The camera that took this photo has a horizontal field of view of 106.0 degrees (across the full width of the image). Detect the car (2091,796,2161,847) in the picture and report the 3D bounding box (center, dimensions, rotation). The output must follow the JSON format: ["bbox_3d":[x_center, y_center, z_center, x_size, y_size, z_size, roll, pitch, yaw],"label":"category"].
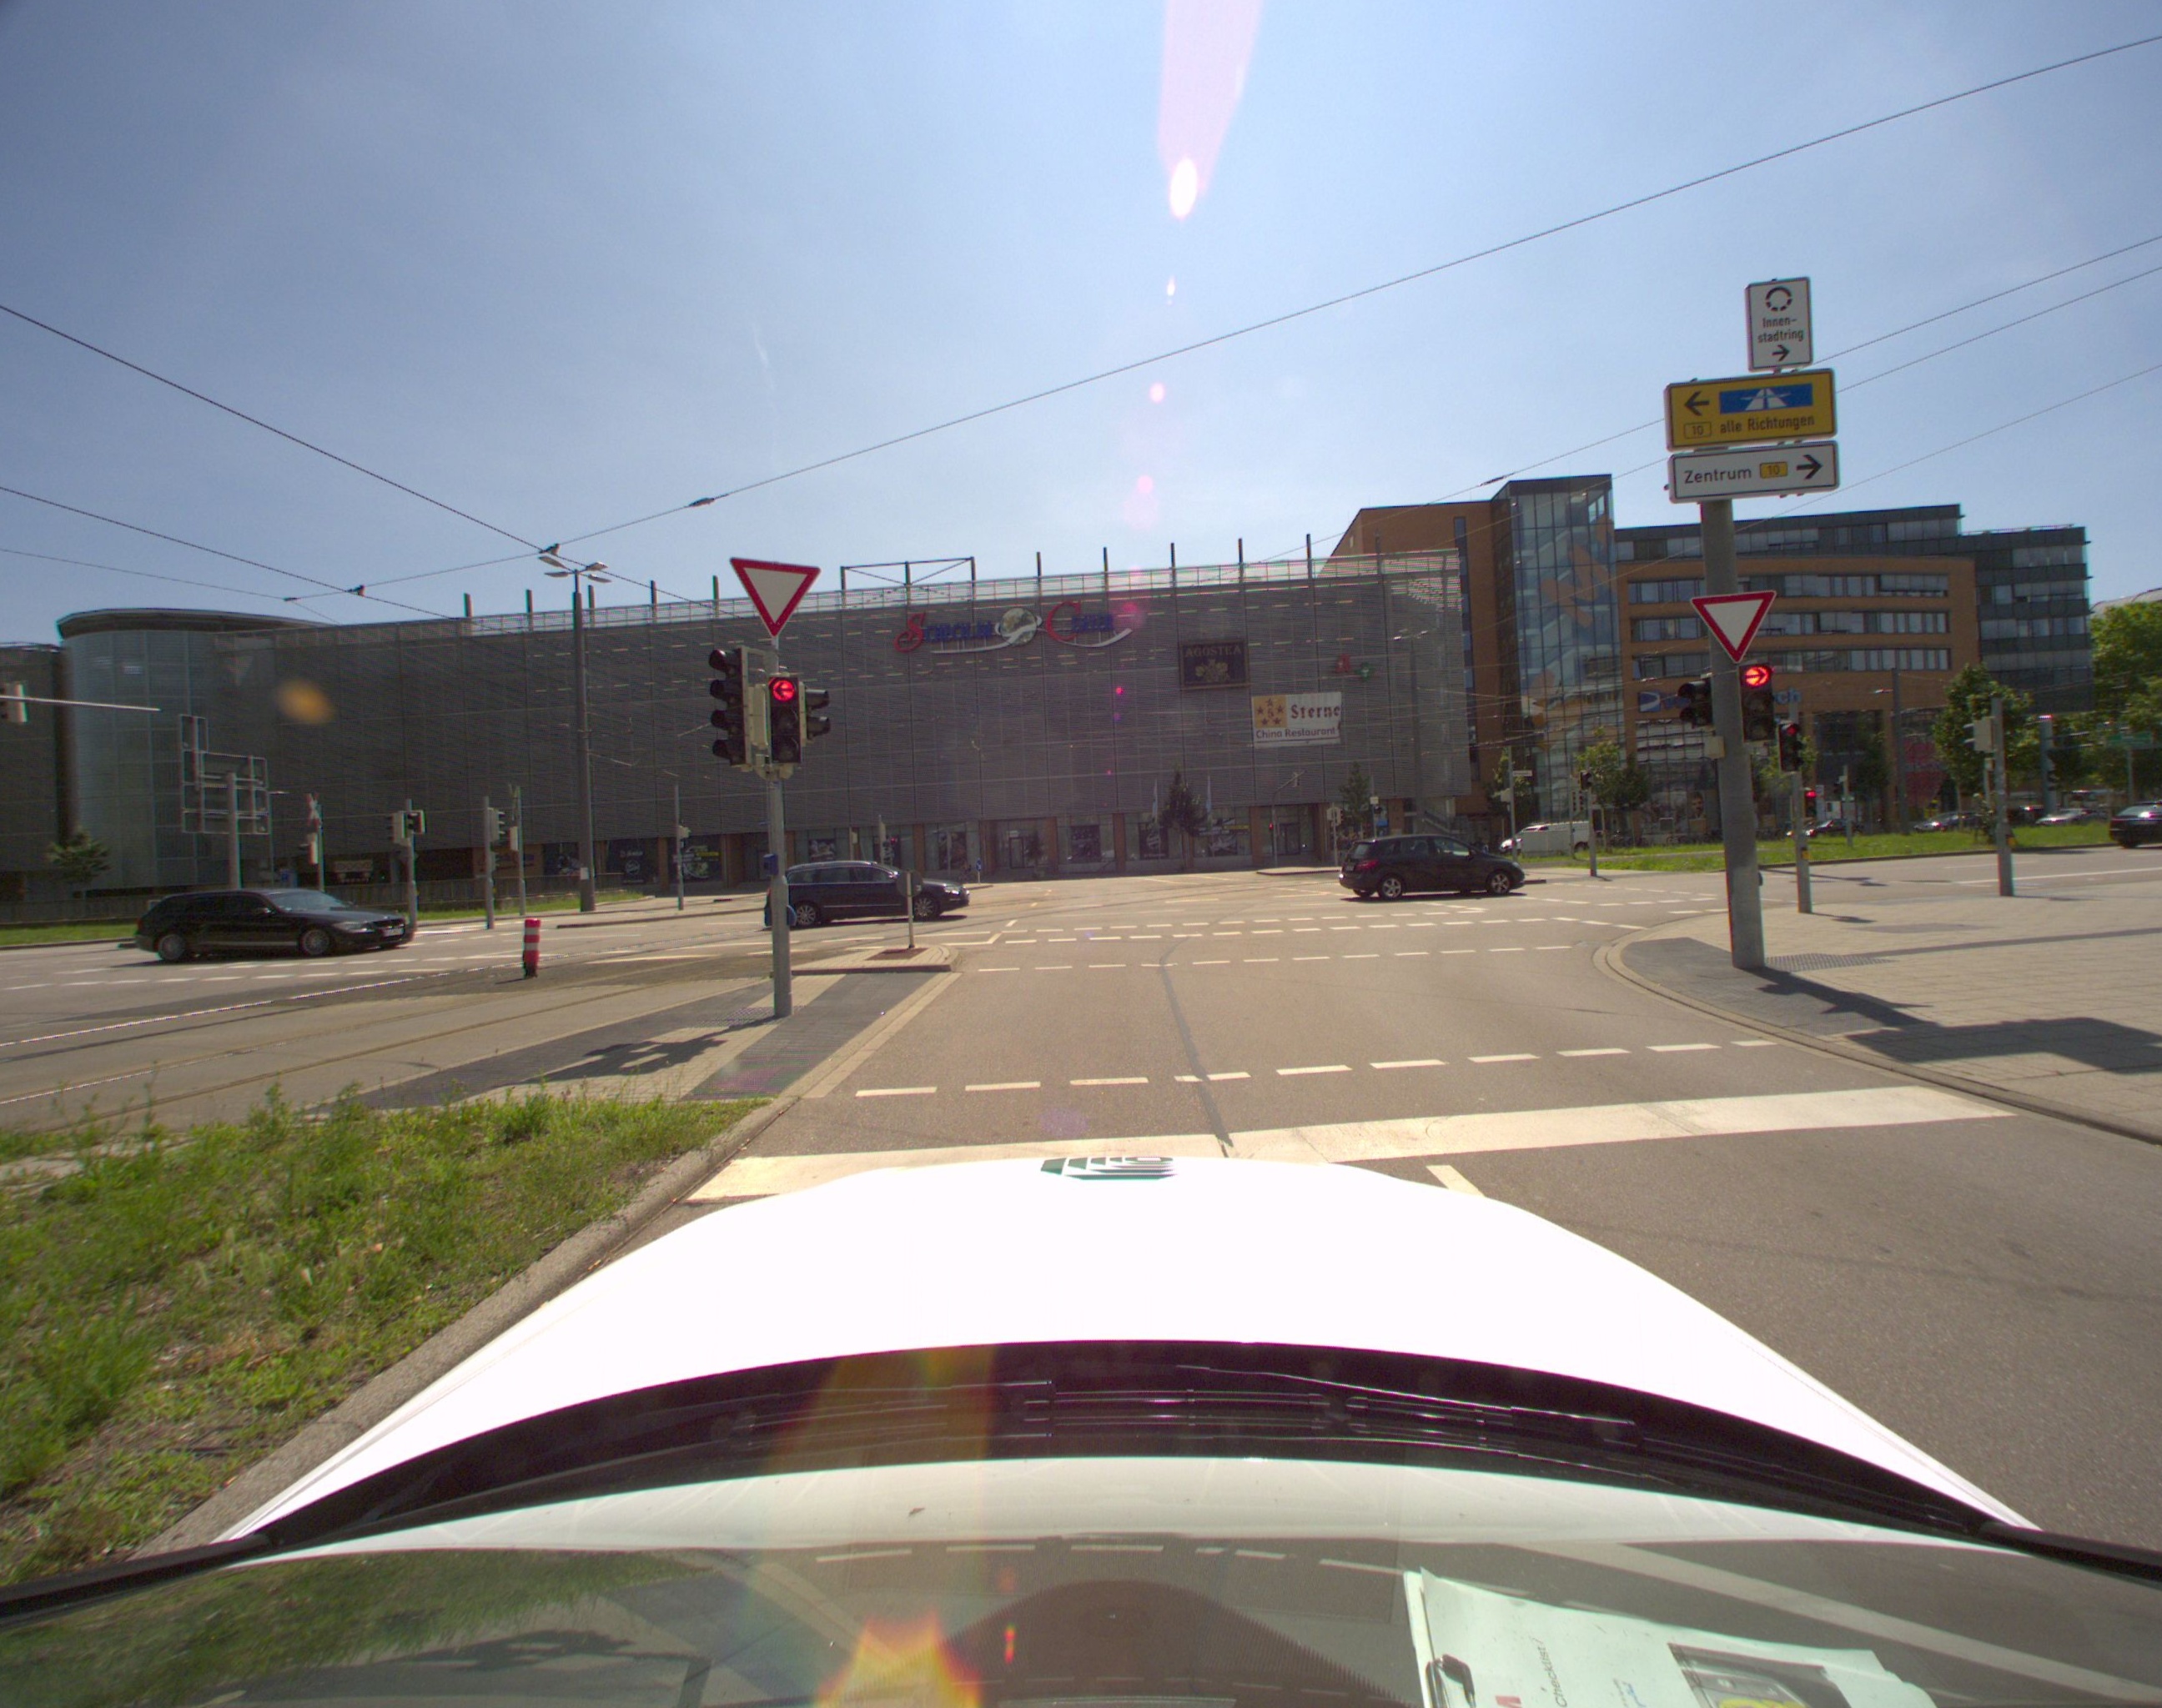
[{"bbox_3d":[33.500,-1.030,24.167,4.750,1.460,1.887,-2,1,-1],"label":"car"}]

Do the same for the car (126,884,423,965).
[{"bbox_3d":[-16.240,1.386,16.559,4.292,1.342,1.635,-2,1,-1],"label":"car"}]

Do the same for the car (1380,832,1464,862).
[{"bbox_3d":[19.309,-0.418,46.178,3.973,1.538,1.881,-2,1,0],"label":"car"}]

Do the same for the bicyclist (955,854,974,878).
[{"bbox_3d":[-7.934,0.797,55.433,1.033,1.571,0.779,-2,0,9],"label":"bicyclist"}]

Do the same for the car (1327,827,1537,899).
[{"bbox_3d":[8.572,0.199,20.158,4.308,1.553,1.999,-2,1,-2],"label":"car"}]

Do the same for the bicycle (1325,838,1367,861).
[{"bbox_3d":[19.439,-0.318,59.736,2.836,1.557,0.706,-2,0,5],"label":"bicycle"}]

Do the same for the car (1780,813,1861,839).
[{"bbox_3d":[47.545,-1.776,52.389,3.984,1.530,1.680,-2,1,-8],"label":"car"}]

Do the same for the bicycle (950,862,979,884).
[{"bbox_3d":[-7.903,1.265,55.528,1.055,1.390,3.032,-2,1,10],"label":"bicycle"}]

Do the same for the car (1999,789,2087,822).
[{"bbox_3d":[64.693,-3.231,54.787,3.984,2.013,1.995,-2,0,-8],"label":"car"}]

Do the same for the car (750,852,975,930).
[{"bbox_3d":[-5.089,0.834,19.543,4.845,1.580,1.998,-2,1,-4],"label":"car"}]

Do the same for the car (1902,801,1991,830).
[{"bbox_3d":[53.013,-2.355,49.915,3.812,1.574,1.629,-2,0,-3],"label":"car"}]

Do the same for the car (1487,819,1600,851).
[{"bbox_3d":[26.430,-1.079,46.632,5.450,1.668,1.998,-2,1,-3],"label":"car"}]

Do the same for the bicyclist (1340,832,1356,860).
[{"bbox_3d":[19.544,-0.604,59.717,0.908,2.013,0.749,-2,0,4],"label":"bicyclist"}]

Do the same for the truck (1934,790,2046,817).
[{"bbox_3d":[111.485,-6.168,100.114,1.999,2.809,9.185,-2,1,-18],"label":"truck"}]
